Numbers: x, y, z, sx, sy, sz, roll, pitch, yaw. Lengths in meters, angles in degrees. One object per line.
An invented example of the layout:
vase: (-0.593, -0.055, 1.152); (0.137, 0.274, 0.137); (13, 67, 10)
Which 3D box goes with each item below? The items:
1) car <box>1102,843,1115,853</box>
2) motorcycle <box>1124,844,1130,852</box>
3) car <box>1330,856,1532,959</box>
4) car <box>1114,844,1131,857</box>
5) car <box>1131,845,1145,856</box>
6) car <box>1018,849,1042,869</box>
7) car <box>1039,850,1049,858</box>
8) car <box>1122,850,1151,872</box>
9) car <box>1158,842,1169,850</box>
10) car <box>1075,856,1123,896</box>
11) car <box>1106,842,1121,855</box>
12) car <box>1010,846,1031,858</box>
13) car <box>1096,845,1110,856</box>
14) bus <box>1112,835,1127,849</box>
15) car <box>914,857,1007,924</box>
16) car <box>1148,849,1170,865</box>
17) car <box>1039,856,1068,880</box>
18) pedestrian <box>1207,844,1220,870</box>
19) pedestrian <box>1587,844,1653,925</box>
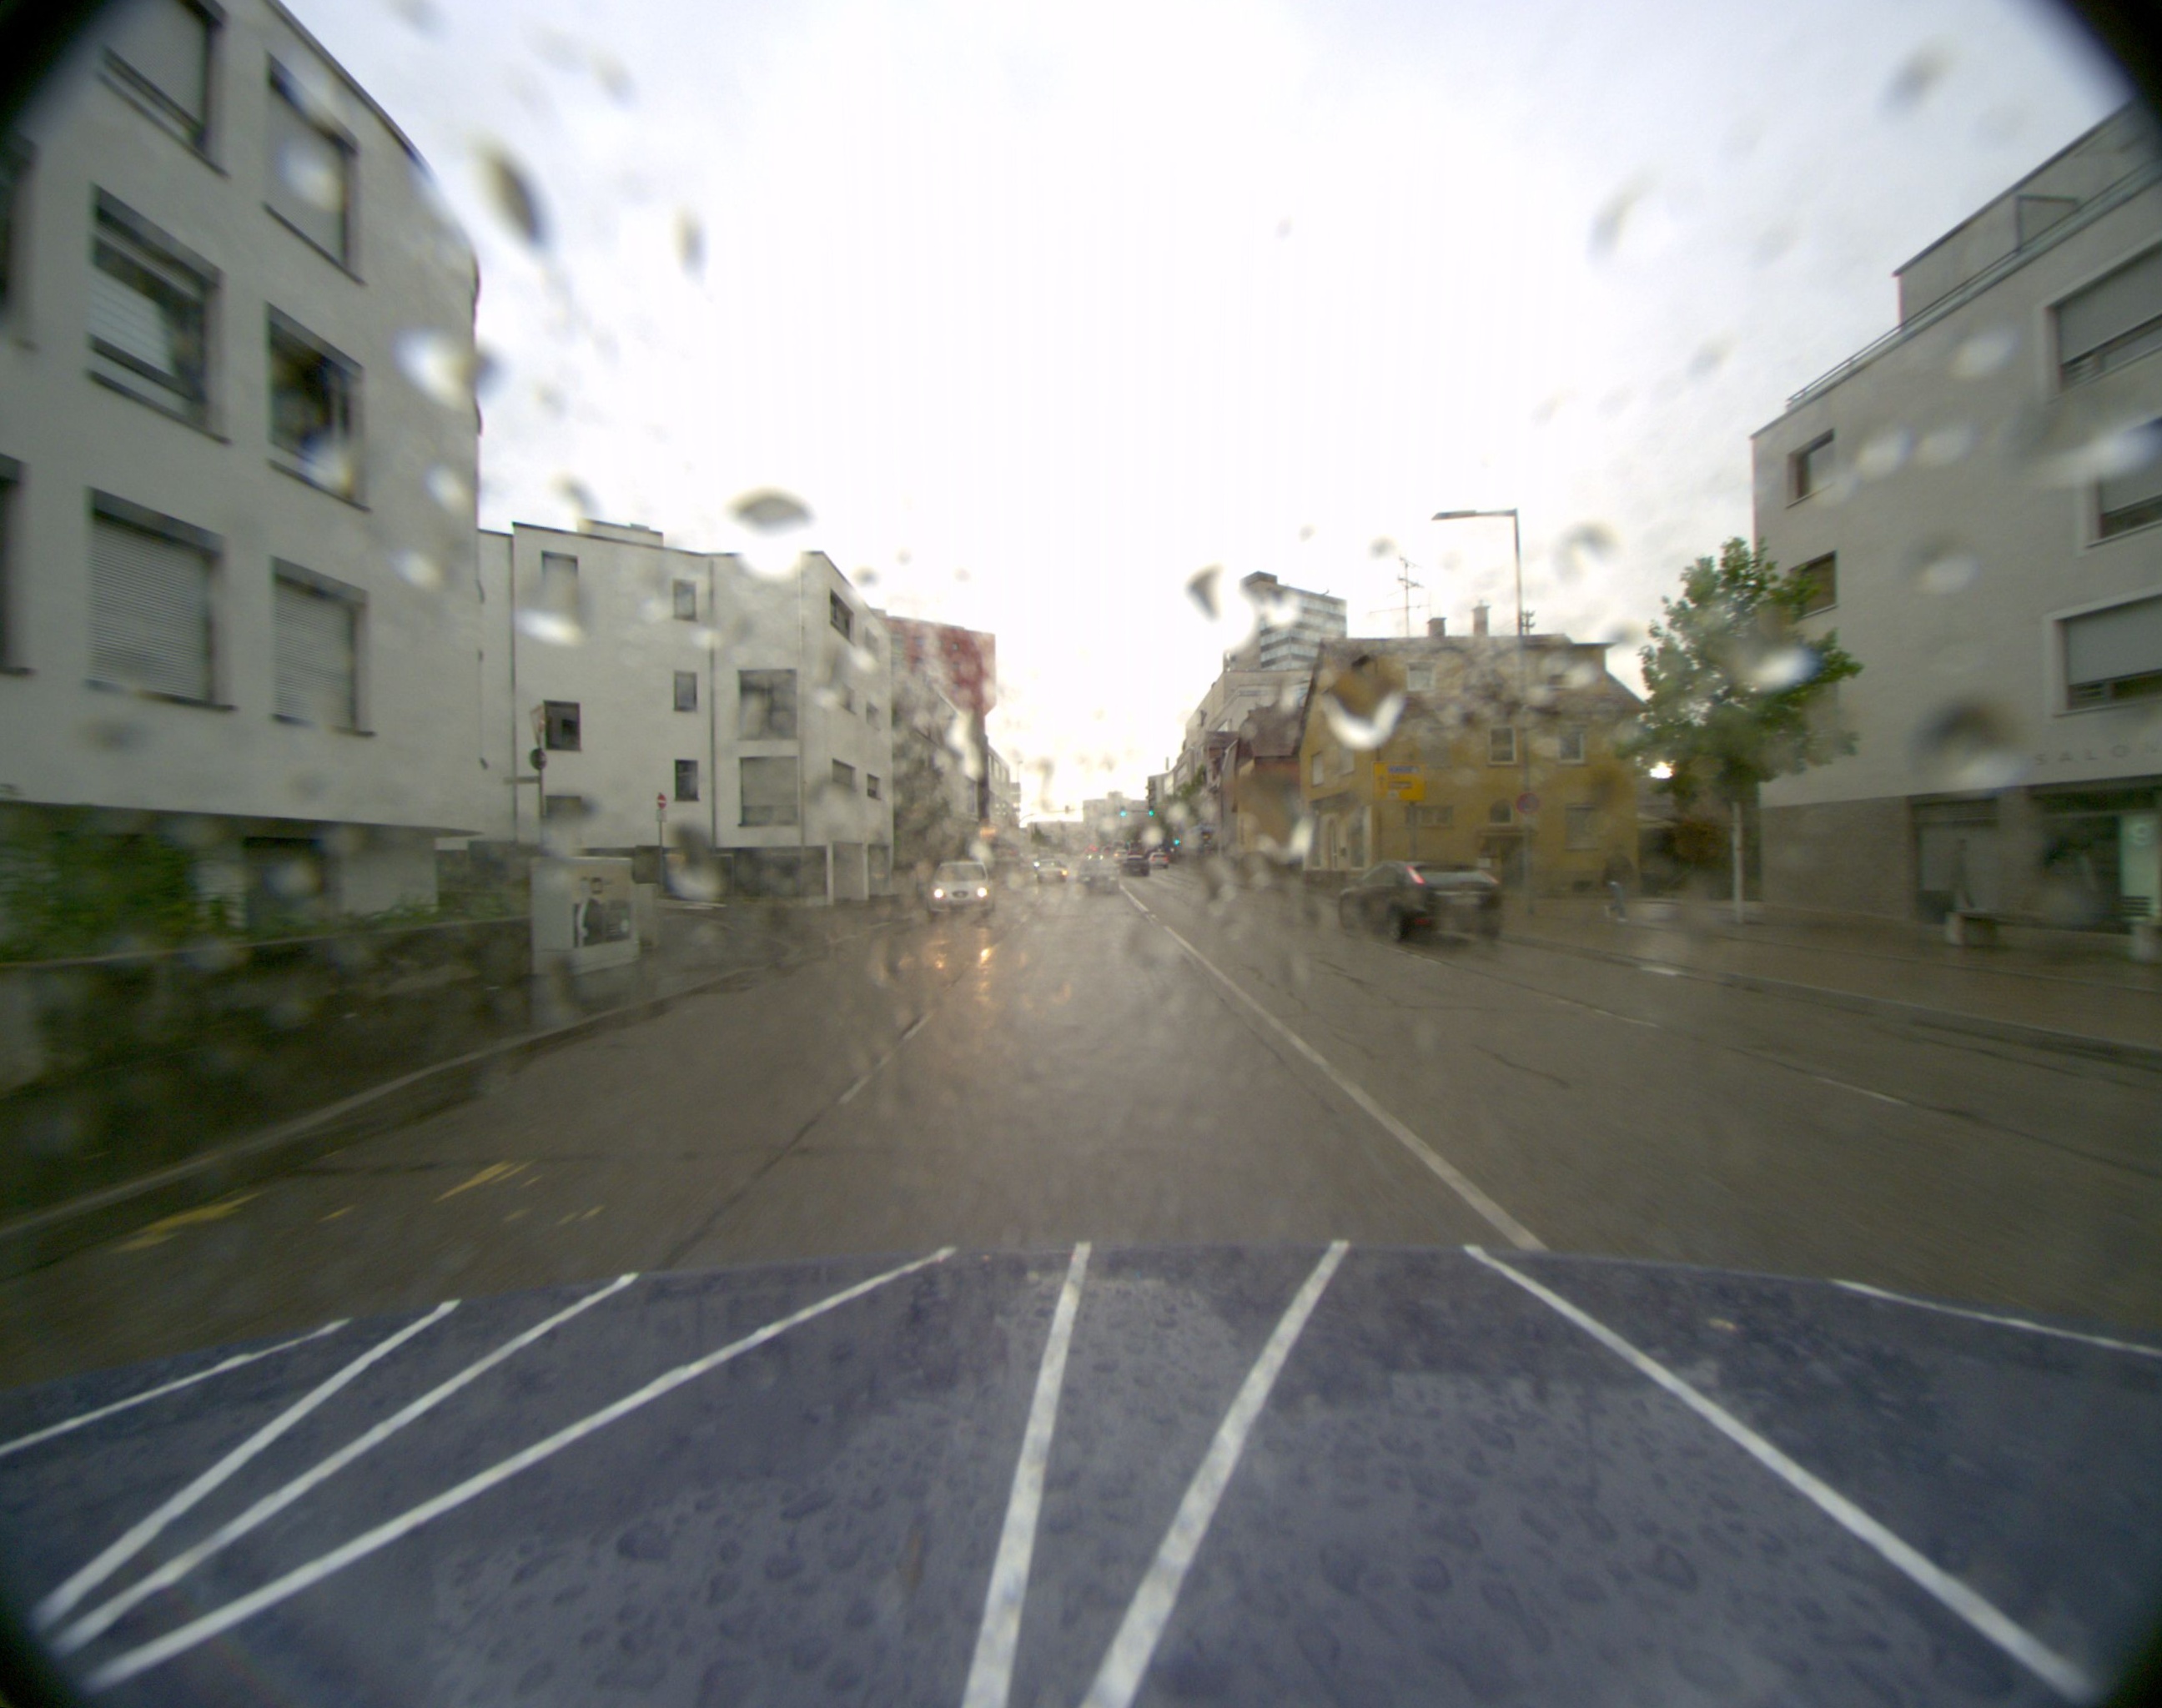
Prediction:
car: (4.922, -1.119, 137.747); (2.104, 1.702, 4.847); (0, 2, -2)
motorcycle: (7.989, -1.092, 132.979); (0.910, 1.276, 2.184); (0, 2, 0)
car: (6.288, 0.866, 14.258); (1.885, 1.515, 4.183); (0, 2, 0)
car: (5.200, -0.487, 96.239); (1.883, 1.600, 4.717); (-1, 2, 0)
car: (8.762, -0.560, 116.728); (2.005, 1.608, 4.948); (0, 2, 4)
car: (-4.412, 0.407, 66.259); (2.059, 1.638, 4.477); (-1, 2, -3)
car: (-5.553, -0.014, 114.539); (1.326, 1.178, 2.822); (0, 2, 0)
car: (3.900, 0.434, 54.131); (1.772, 1.406, 4.524); (0, 2, 0)
car: (15.605, -1.489, 143.409); (1.757, 1.402, 3.729); (0, 2, 1)
car: (0.677, 0.840, 31.117); (1.688, 1.373, 3.792); (-2, 2, -2)
car: (5.152, -0.925, 119.958); (1.971, 1.927, 5.177); (0, 2, -2)
car: (-8.286, -0.299, 103.547); (1.618, 1.454, 3.415); (-1, 2, -29)
car: (2.862, -0.474, 100.705); (1.719, 1.442, 4.197); (0, 2, 1)
bus: (8.376, -2.681, 166.331); (2.899, 3.082, 11.996); (0, 2, 1)
car: (-3.266, 0.923, 21.471); (2.017, 1.612, 4.360); (-2, 0, -2)
car: (7.429, 0.274, 72.575); (1.653, 1.410, 4.138); (2, 2, 1)
car: (-1.653, 0.828, 46.400); (1.662, 1.300, 3.993); (0, 2, -2)
pedestrian: (10.103, 0.191, 57.856); (0.663, 1.910, 0.946); (-3, 2, -7)
pedestrian: (12.228, 0.661, 17.259); (0.803, 1.778, 0.881); (-1, 2, -8)
